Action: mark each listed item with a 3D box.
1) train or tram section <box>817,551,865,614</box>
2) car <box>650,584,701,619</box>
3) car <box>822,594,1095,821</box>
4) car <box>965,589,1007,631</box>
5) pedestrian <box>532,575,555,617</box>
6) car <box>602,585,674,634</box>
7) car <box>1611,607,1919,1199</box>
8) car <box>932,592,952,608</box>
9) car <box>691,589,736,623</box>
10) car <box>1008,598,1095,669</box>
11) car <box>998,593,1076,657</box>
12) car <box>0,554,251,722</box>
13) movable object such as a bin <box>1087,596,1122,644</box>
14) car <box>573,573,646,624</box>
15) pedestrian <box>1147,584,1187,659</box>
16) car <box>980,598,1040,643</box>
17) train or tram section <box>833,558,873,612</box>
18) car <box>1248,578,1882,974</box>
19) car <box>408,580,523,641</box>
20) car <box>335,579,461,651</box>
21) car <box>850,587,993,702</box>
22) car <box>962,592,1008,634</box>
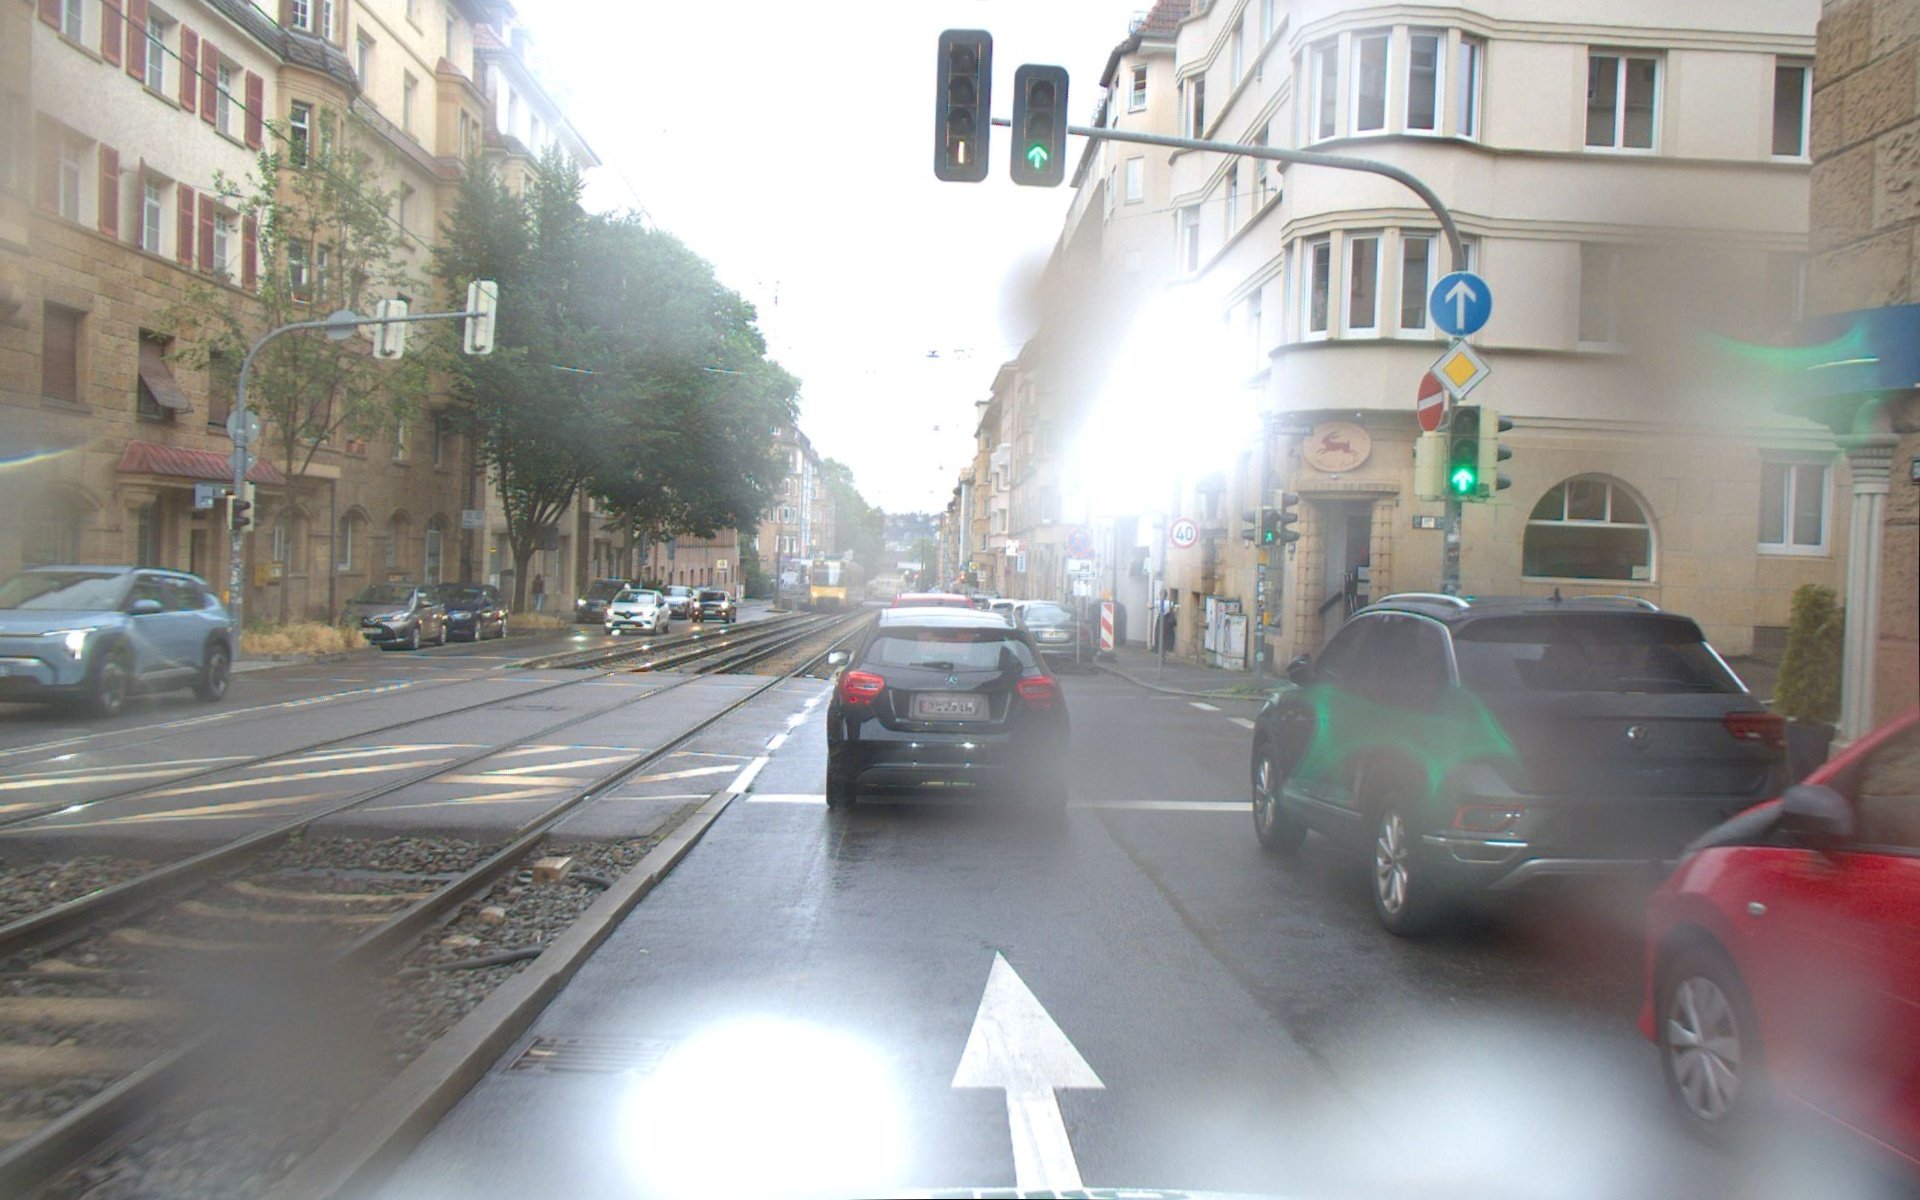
[{"bbox_3d":[-8.397,-1.213,118.536,2.690,4.133,17.207,1,0,-2],"label":"train or tram section"},{"bbox_3d":[-14.108,0.049,82.211,1.922,1.633,4.327,2,0,-2],"label":"car"},{"bbox_3d":[-0.042,0.722,13.018,1.797,1.478,3.901,1,0,-1],"label":"car"},{"bbox_3d":[1.146,0.445,73.725,1.742,1.780,4.548,1,-1,0],"label":"car"},{"bbox_3d":[-16.937,-0.172,67.217,0.713,1.692,0.770,2,0,-2],"label":"pedestrian"},{"bbox_3d":[-10.568,0.309,54.563,1.745,1.529,4.060,1,-1,-3],"label":"car"},{"bbox_3d":[3.060,0.794,3.628,1.672,1.478,3.530,2,0,-4],"label":"car"},{"bbox_3d":[-1.804,-0.027,166.425,1.848,1.552,4.245,2,0,1],"label":"car"},{"bbox_3d":[-11.100,0.253,74.719,1.620,1.488,3.732,0,0,-3],"label":"car"},{"bbox_3d":[1.974,0.725,36.661,1.675,1.435,4.817,1,-1,0],"label":"car"},{"bbox_3d":[1.905,0.616,42.029,1.677,1.493,4.772,1,-1,-1],"label":"car"},{"bbox_3d":[-9.620,0.385,18.320,1.883,1.646,4.126,1,-1,-3],"label":"car"},{"bbox_3d":[4.607,0.628,52.940,0.960,1.494,1.272,1,-1,-2],"label":"movable object such as a bin"},{"bbox_3d":[-13.690,-0.075,64.876,1.914,1.772,4.776,4,0,-3],"label":"car"},{"bbox_3d":[4.757,0.494,38.091,0.788,1.717,0.754,1,-1,-2],"label":"pedestrian"},{"bbox_3d":[1.623,0.670,55.082,1.753,1.410,4.393,1,-1,-1],"label":"car"},{"bbox_3d":[-8.658,-1.210,134.932,2.690,4.133,15.655,1,0,-2],"label":"train or tram section"},{"bbox_3d":[2.855,0.733,8.837,1.830,1.576,3.990,2,0,-1],"label":"car"},{"bbox_3d":[-13.065,0.286,44.012,1.745,1.485,4.975,1,-1,-3],"label":"car"},{"bbox_3d":[-12.983,0.353,38.457,1.656,1.556,4.173,1,-1,-3],"label":"car"},{"bbox_3d":[-0.580,0.627,25.427,1.953,1.552,4.244,2,0,-1],"label":"car"},{"bbox_3d":[1.016,0.543,67.508,1.803,1.636,4.760,1,-1,1],"label":"car"}]
